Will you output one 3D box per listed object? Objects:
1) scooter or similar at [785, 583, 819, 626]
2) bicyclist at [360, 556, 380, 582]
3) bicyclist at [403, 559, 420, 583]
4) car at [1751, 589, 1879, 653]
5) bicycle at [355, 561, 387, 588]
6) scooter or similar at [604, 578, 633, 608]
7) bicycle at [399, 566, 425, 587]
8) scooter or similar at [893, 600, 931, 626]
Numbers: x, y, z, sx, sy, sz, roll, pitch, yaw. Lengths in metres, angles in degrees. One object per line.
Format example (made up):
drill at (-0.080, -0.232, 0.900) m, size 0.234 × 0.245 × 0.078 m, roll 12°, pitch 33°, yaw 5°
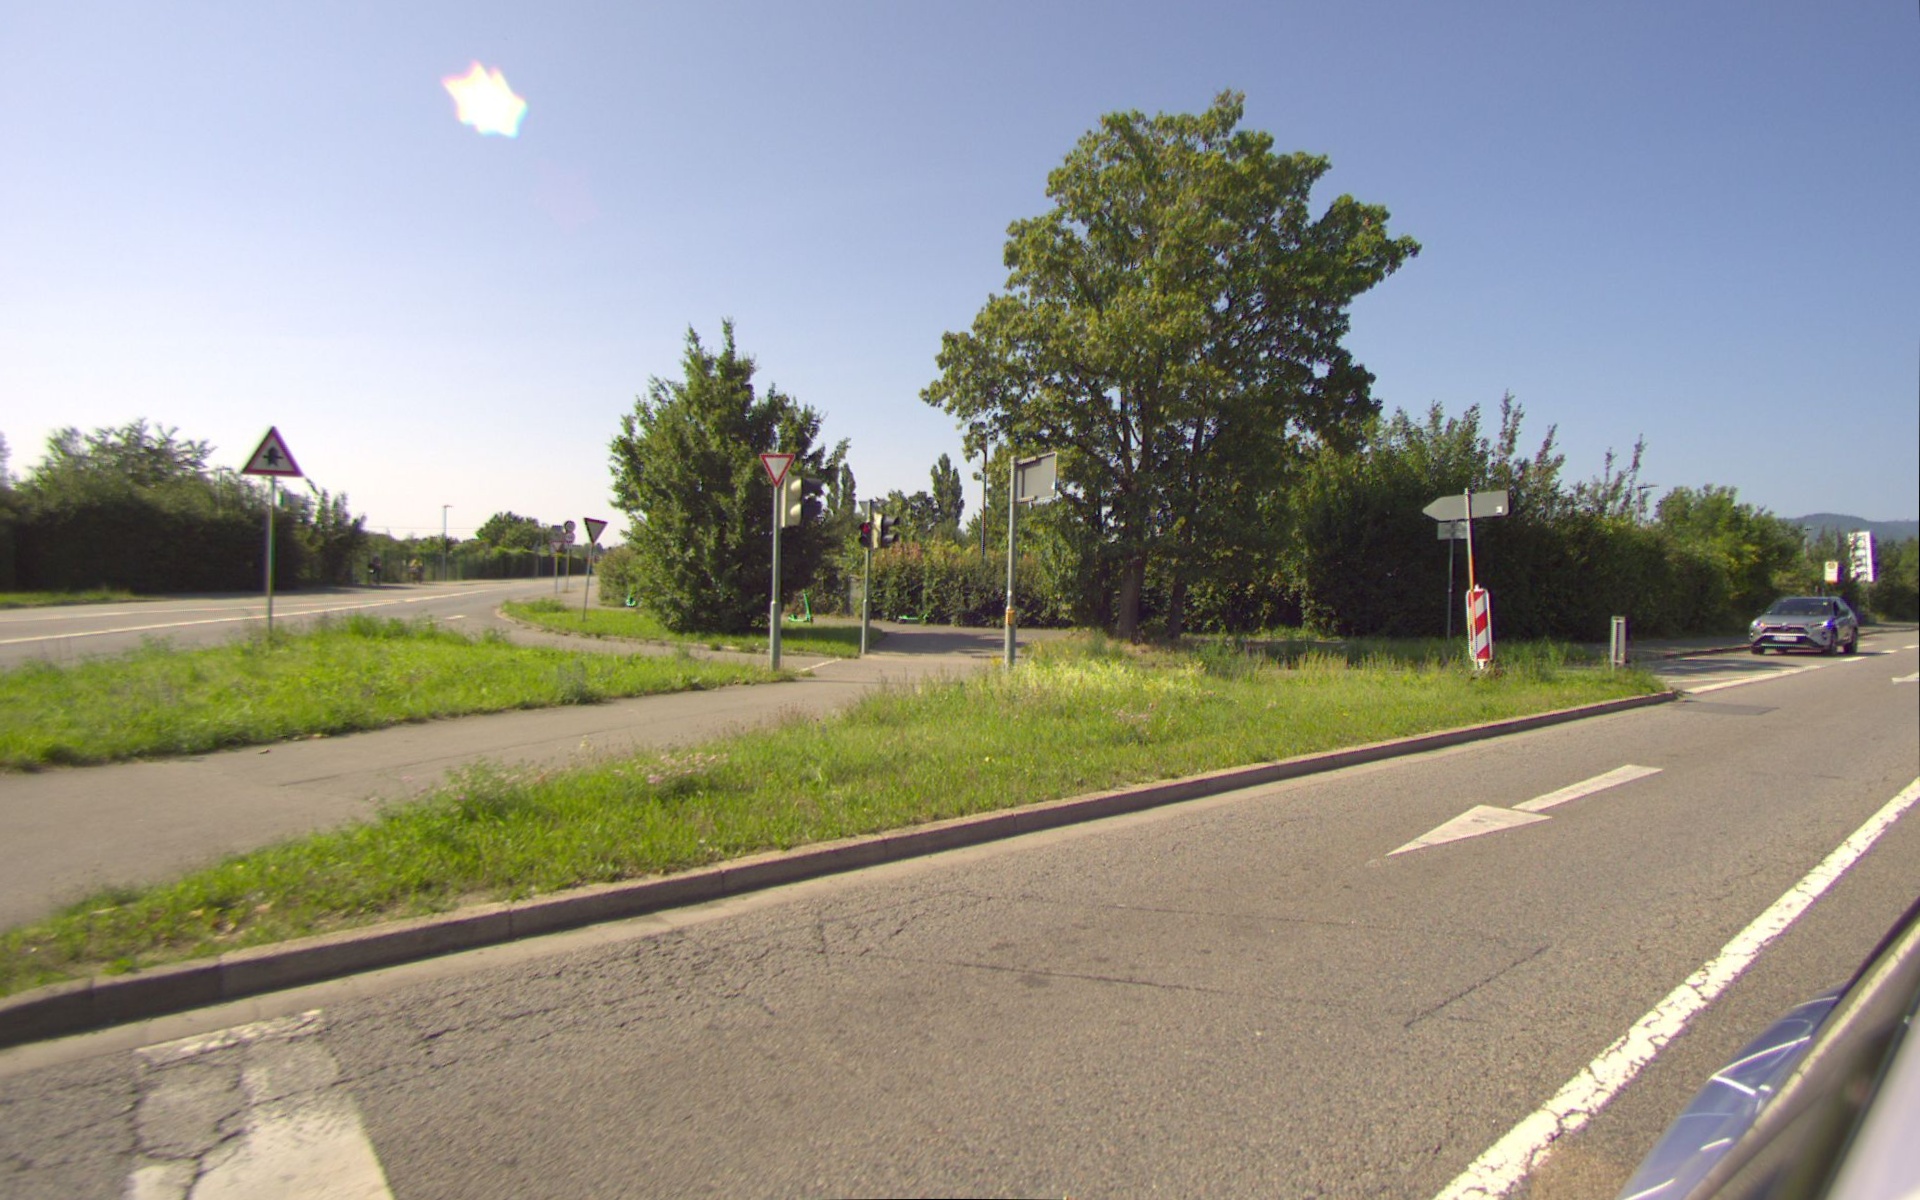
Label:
scooter or similar at (-4.784, 0.115, 30.648) m, size 0.961 × 1.250 × 0.431 m, roll 2°, pitch 2°, yaw 31°
bicyclist at (-31.243, -1.634, 53.594) m, size 0.599 × 1.398 × 0.920 m, roll 0°, pitch 0°, yaw -7°
bicyclist at (-32.409, -1.731, 59.782) m, size 0.599 × 1.398 × 0.920 m, roll 0°, pitch 0°, yaw -7°
car at (24.706, 0.547, 29.197) m, size 4.597 × 1.701 × 1.907 m, roll 0°, pitch 0°, yaw -38°
bicycle at (-31.258, -1.354, 53.717) m, size 0.599 × 1.393 × 2.284 m, roll 0°, pitch 1°, yaw -7°
scooter or similar at (-13.085, -0.265, 38.735) m, size 1.380 × 1.131 × 0.492 m, roll 1°, pitch 1°, yaw 44°
bicycle at (-32.418, -1.379, 59.896) m, size 0.599 × 1.248 × 2.284 m, roll 0°, pitch 1°, yaw -7°
scooter or similar at (-1.493, 0.395, 31.357) m, size 1.113 × 0.735 × 0.431 m, roll 3°, pitch 2°, yaw 31°
